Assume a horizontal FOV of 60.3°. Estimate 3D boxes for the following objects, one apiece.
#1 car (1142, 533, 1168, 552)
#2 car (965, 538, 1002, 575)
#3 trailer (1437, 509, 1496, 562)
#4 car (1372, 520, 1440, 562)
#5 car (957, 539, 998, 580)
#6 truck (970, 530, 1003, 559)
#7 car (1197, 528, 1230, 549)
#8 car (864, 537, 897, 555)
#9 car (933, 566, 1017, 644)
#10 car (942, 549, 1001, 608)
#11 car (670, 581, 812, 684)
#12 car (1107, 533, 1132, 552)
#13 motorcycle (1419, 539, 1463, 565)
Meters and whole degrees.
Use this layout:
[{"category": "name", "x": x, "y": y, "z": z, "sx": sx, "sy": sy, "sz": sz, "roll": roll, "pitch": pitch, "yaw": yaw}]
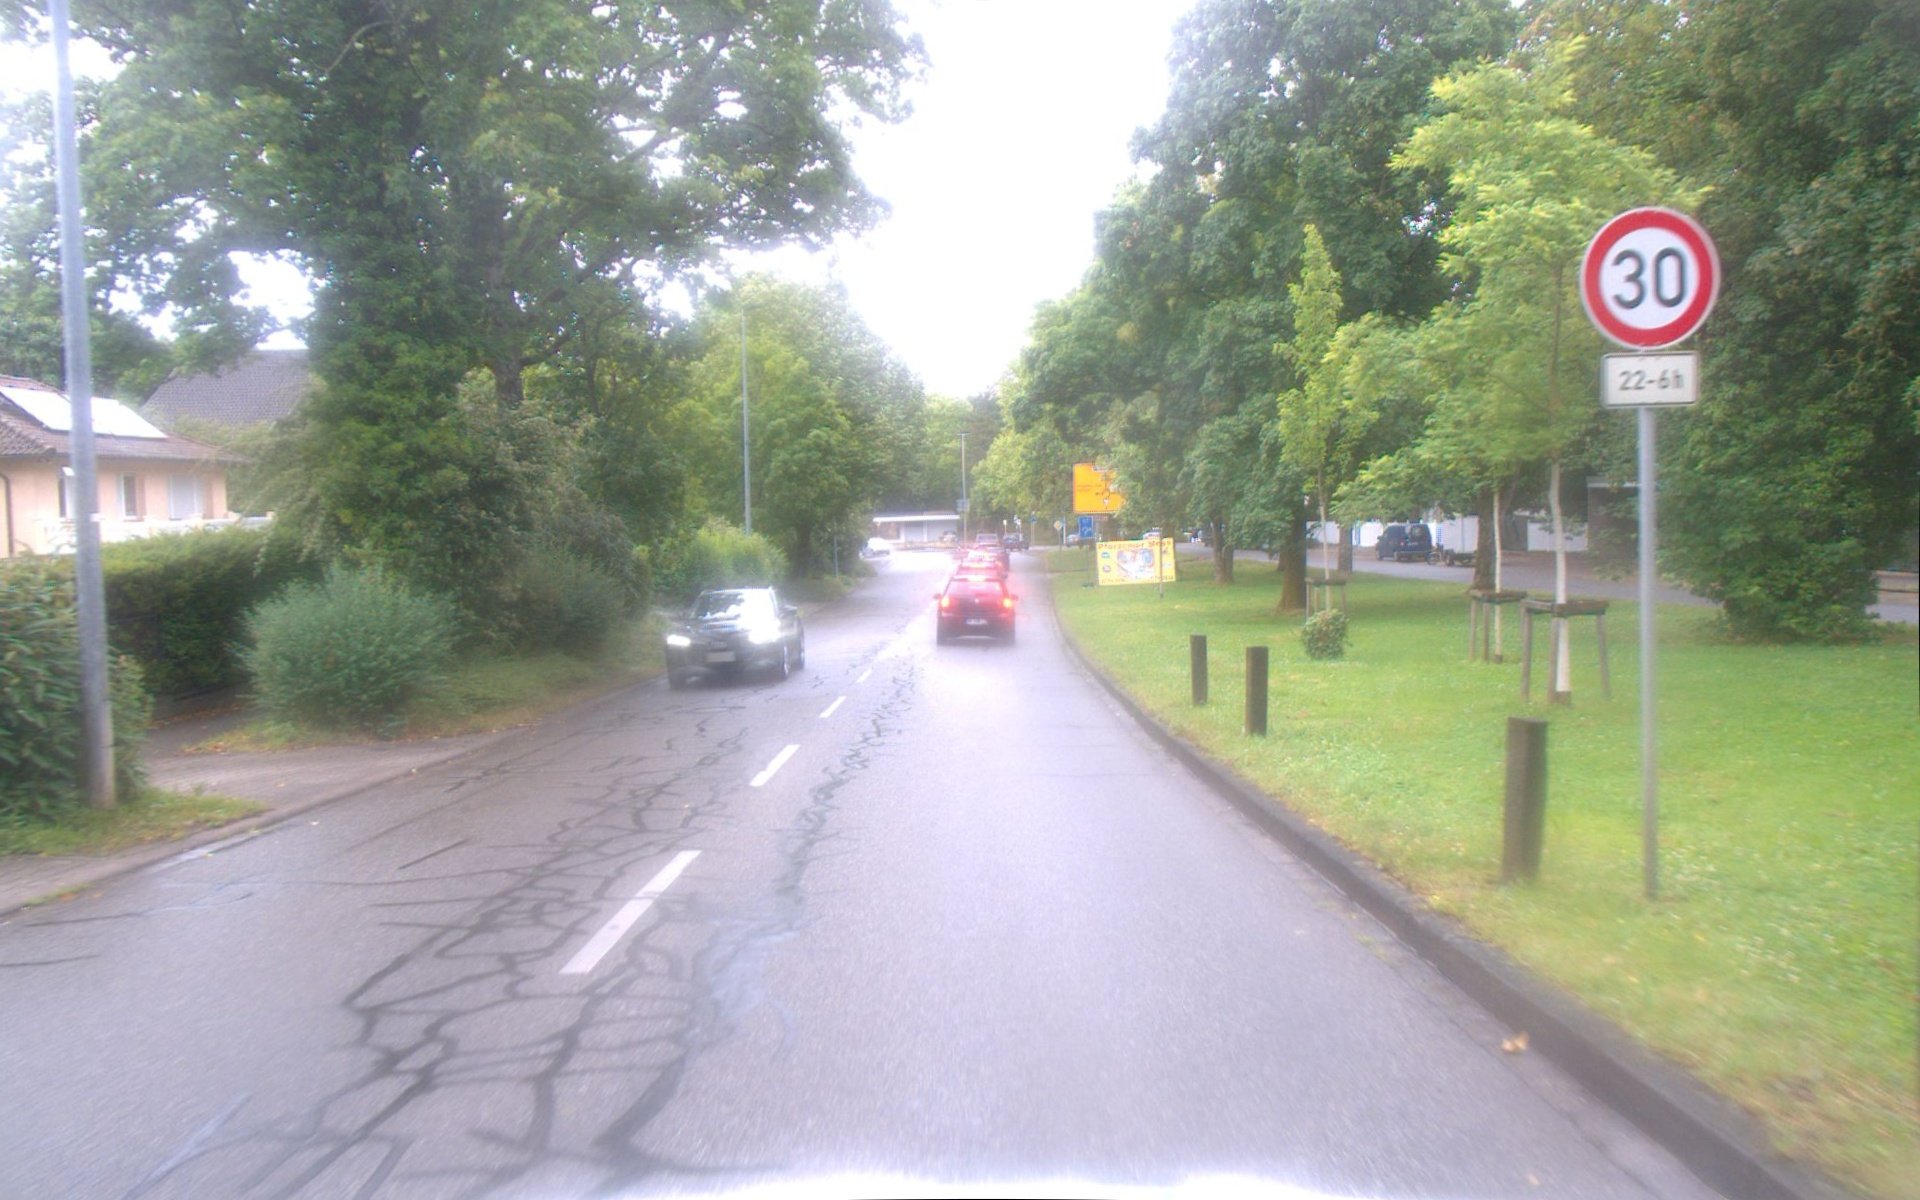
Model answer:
[{"category": "car", "x": 16.583, "y": -4.925, "z": 140.613, "sx": 1.766, "sy": 1.430, "sz": 4.002, "roll": -3, "pitch": 3, "yaw": 1}, {"category": "car", "x": 1.252, "y": -2.315, "z": 87.361, "sx": 1.817, "sy": 1.815, "sz": 4.002, "roll": -2, "pitch": 2, "yaw": 2}, {"category": "trailer", "x": 22.147, "y": -2.819, "z": 72.352, "sx": 1.408, "sy": 2.191, "sz": 2.949, "roll": -4, "pitch": 3, "yaw": -4}, {"category": "car", "x": 22.037, "y": -2.947, "z": 81.905, "sx": 1.902, "sy": 1.840, "sz": 4.649, "roll": -3, "pitch": 4, "yaw": -1}, {"category": "car", "x": 0.861, "y": -1.948, "z": 78.529, "sx": 1.817, "sy": 1.815, "sz": 4.002, "roll": -2, "pitch": 2, "yaw": 2}, {"category": "truck", "x": 2.020, "y": -4.243, "z": 126.077, "sx": 2.367, "sy": 2.039, "sz": 5.152, "roll": -2, "pitch": 2, "yaw": 0}, {"category": "car", "x": 19.632, "y": -4.772, "z": 128.156, "sx": 1.765, "sy": 1.435, "sz": 4.113, "roll": -3, "pitch": 3, "yaw": -1}, {"category": "car", "x": -7.627, "y": -5.179, "z": 158.099, "sx": 1.740, "sy": 1.642, "sz": 4.112, "roll": -3, "pitch": 3, "yaw": -23}, {"category": "car", "x": 0.370, "y": 0.075, "z": 36.806, "sx": 1.761, "sy": 1.541, "sz": 3.755, "roll": 1, "pitch": 2, "yaw": 2}, {"category": "car", "x": 0.423, "y": -0.745, "z": 54.915, "sx": 1.817, "sy": 1.815, "sz": 4.002, "roll": -2, "pitch": 2, "yaw": 2}, {"category": "car", "x": -3.458, "y": 0.465, "z": 26.859, "sx": 1.719, "sy": 1.386, "sz": 4.325, "roll": -3, "pitch": 1, "yaw": -1}, {"category": "car", "x": 13.566, "y": -4.891, "z": 140.811, "sx": 1.766, "sy": 1.409, "sz": 4.002, "roll": -3, "pitch": 3, "yaw": 1}, {"category": "motorcycle", "x": 21.795, "y": -2.170, "z": 74.889, "sx": 1.846, "sy": 1.111, "sz": 0.659, "roll": -1, "pitch": 4, "yaw": 21}]
